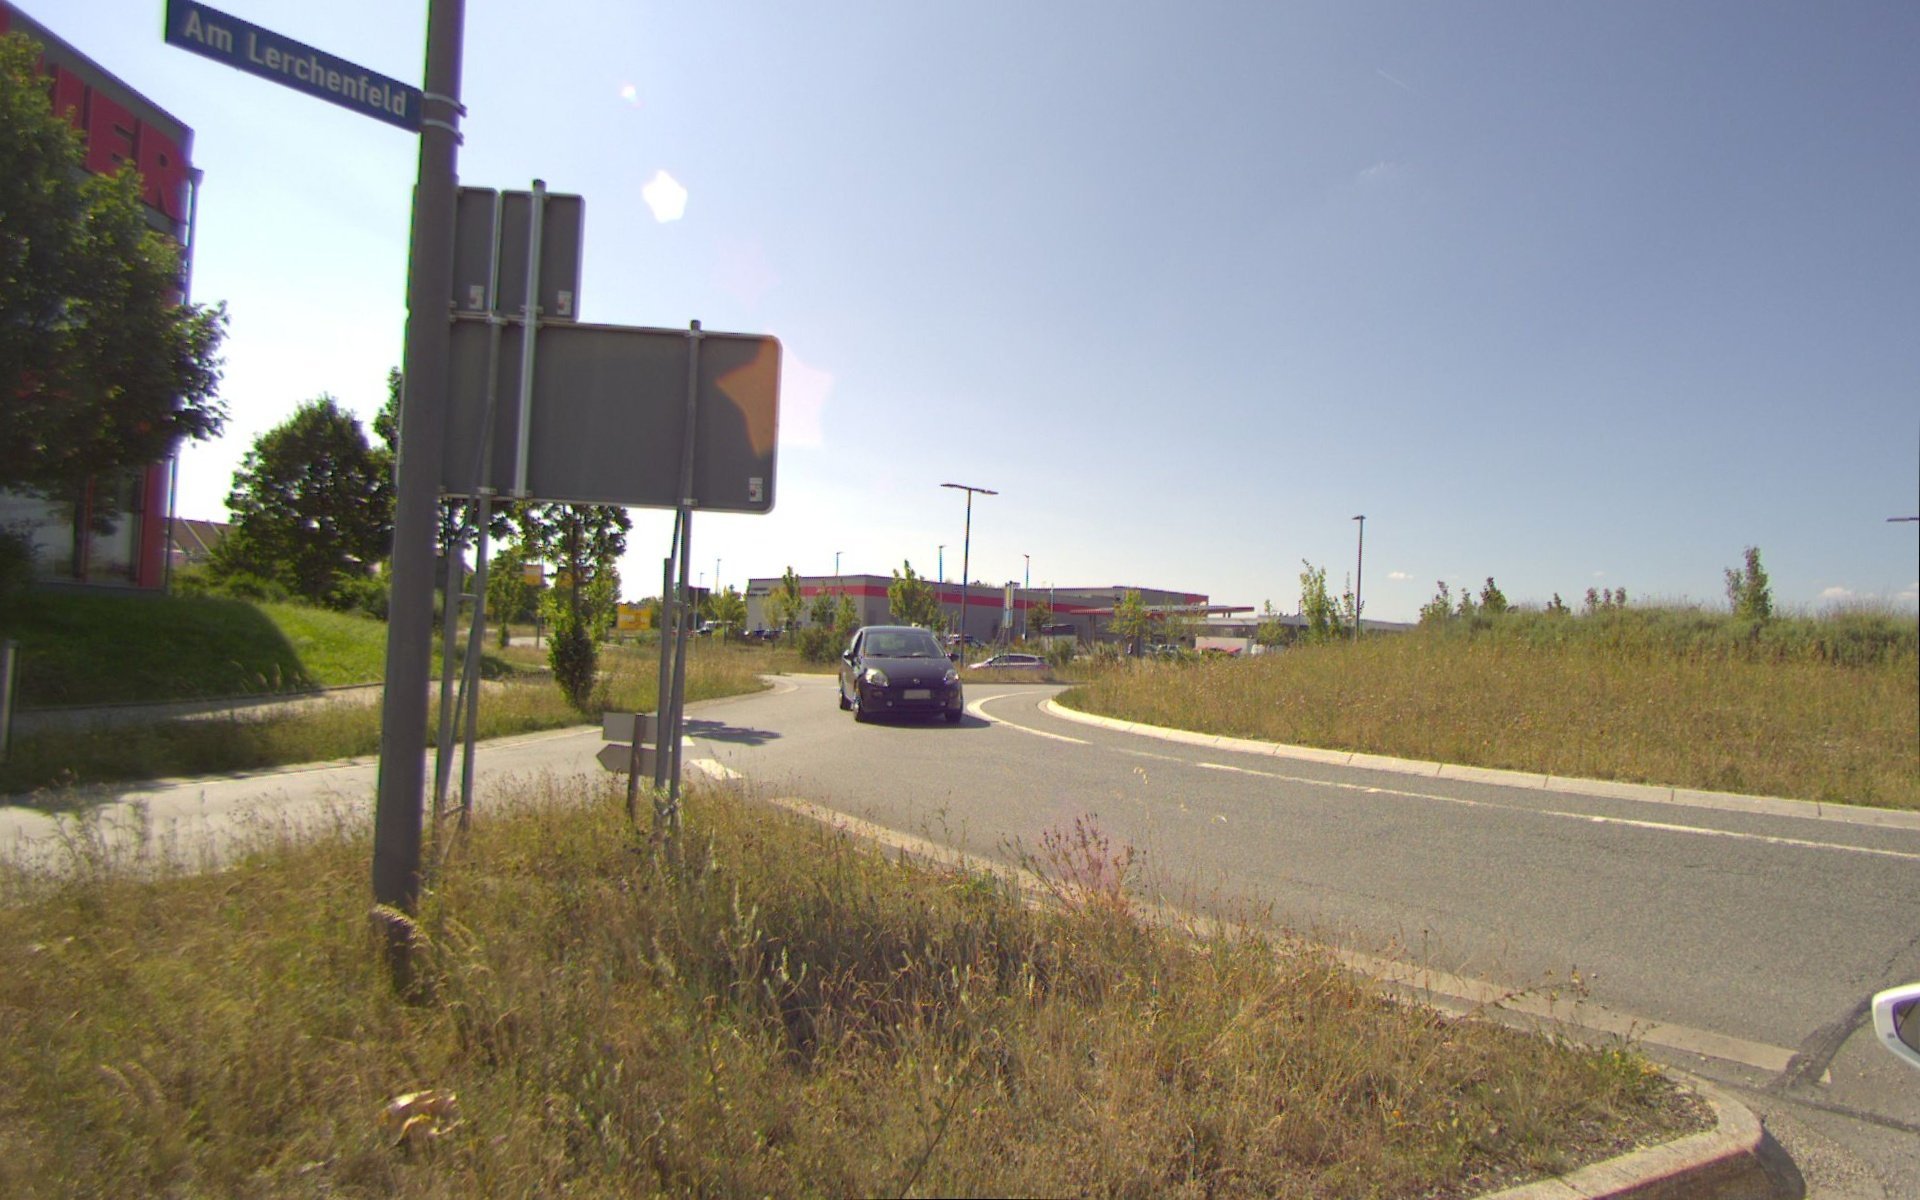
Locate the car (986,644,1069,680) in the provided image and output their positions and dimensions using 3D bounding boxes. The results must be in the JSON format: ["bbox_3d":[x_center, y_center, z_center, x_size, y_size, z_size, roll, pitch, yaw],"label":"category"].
[{"bbox_3d":[3.385,3.074,50.089,3.692,1.581,1.845,1,-3,20],"label":"car"}]

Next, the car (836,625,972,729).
[{"bbox_3d":[-1.040,1.182,16.643,1.616,1.507,3.895,2,-2,-13],"label":"car"}]

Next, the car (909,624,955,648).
[{"bbox_3d":[-2.650,3.389,94.251,3.973,2.040,1.974,4,-3,-44],"label":"car"}]

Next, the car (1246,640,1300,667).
[{"bbox_3d":[26.281,4.507,84.274,5.101,2.040,1.975,5,-3,-43],"label":"car"}]
